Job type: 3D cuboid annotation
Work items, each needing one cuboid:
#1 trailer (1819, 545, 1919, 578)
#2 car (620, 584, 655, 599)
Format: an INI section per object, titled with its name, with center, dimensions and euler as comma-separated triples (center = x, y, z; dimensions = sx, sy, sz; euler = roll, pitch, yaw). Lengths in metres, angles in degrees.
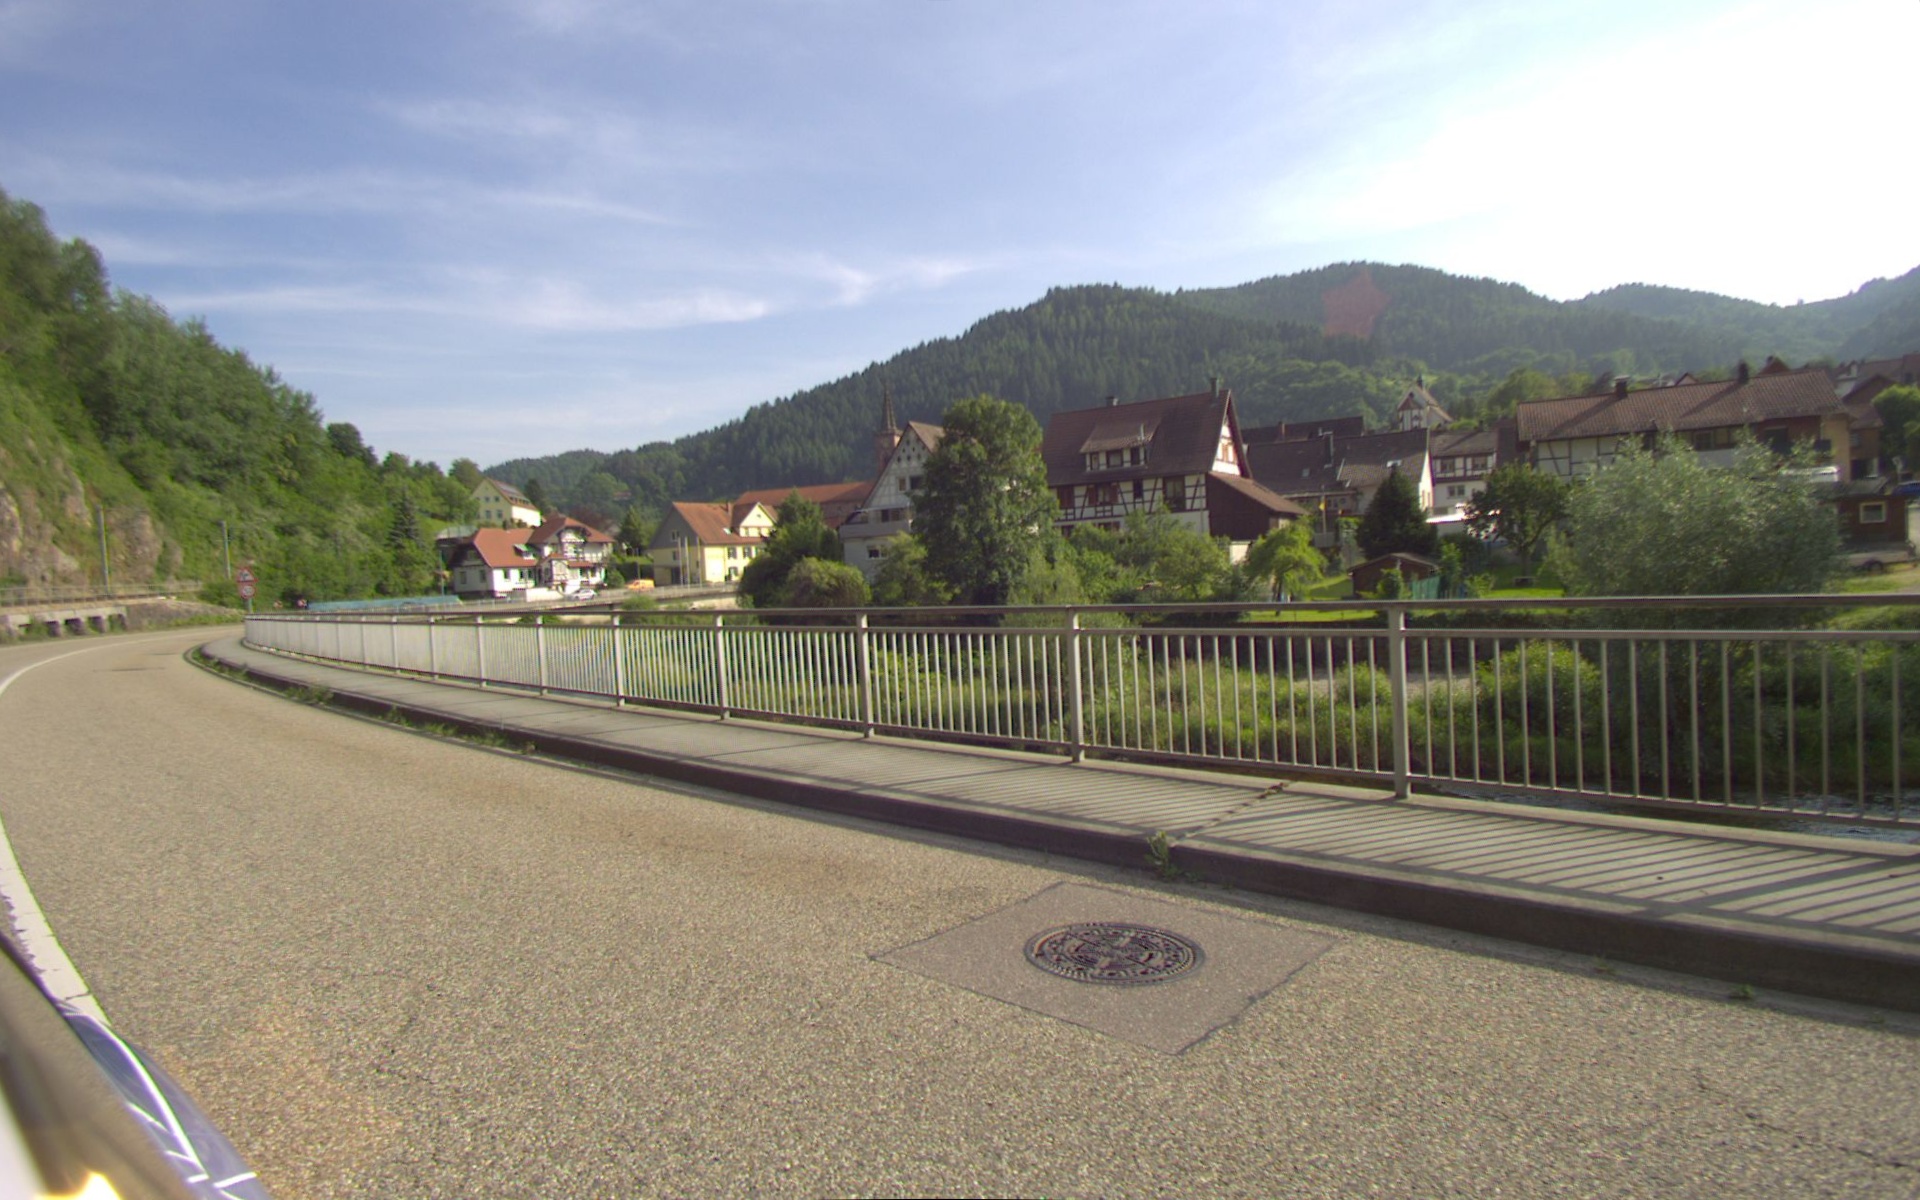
[trailer]
center = 42.433, -1.778, 46.773
dimensions = 3.672, 1.320, 1.885
euler = -1, -1, 21
[car]
center = -47.120, -1.200, 147.982
dimensions = 1.908, 2.013, 4.783
euler = -1, -1, 31
